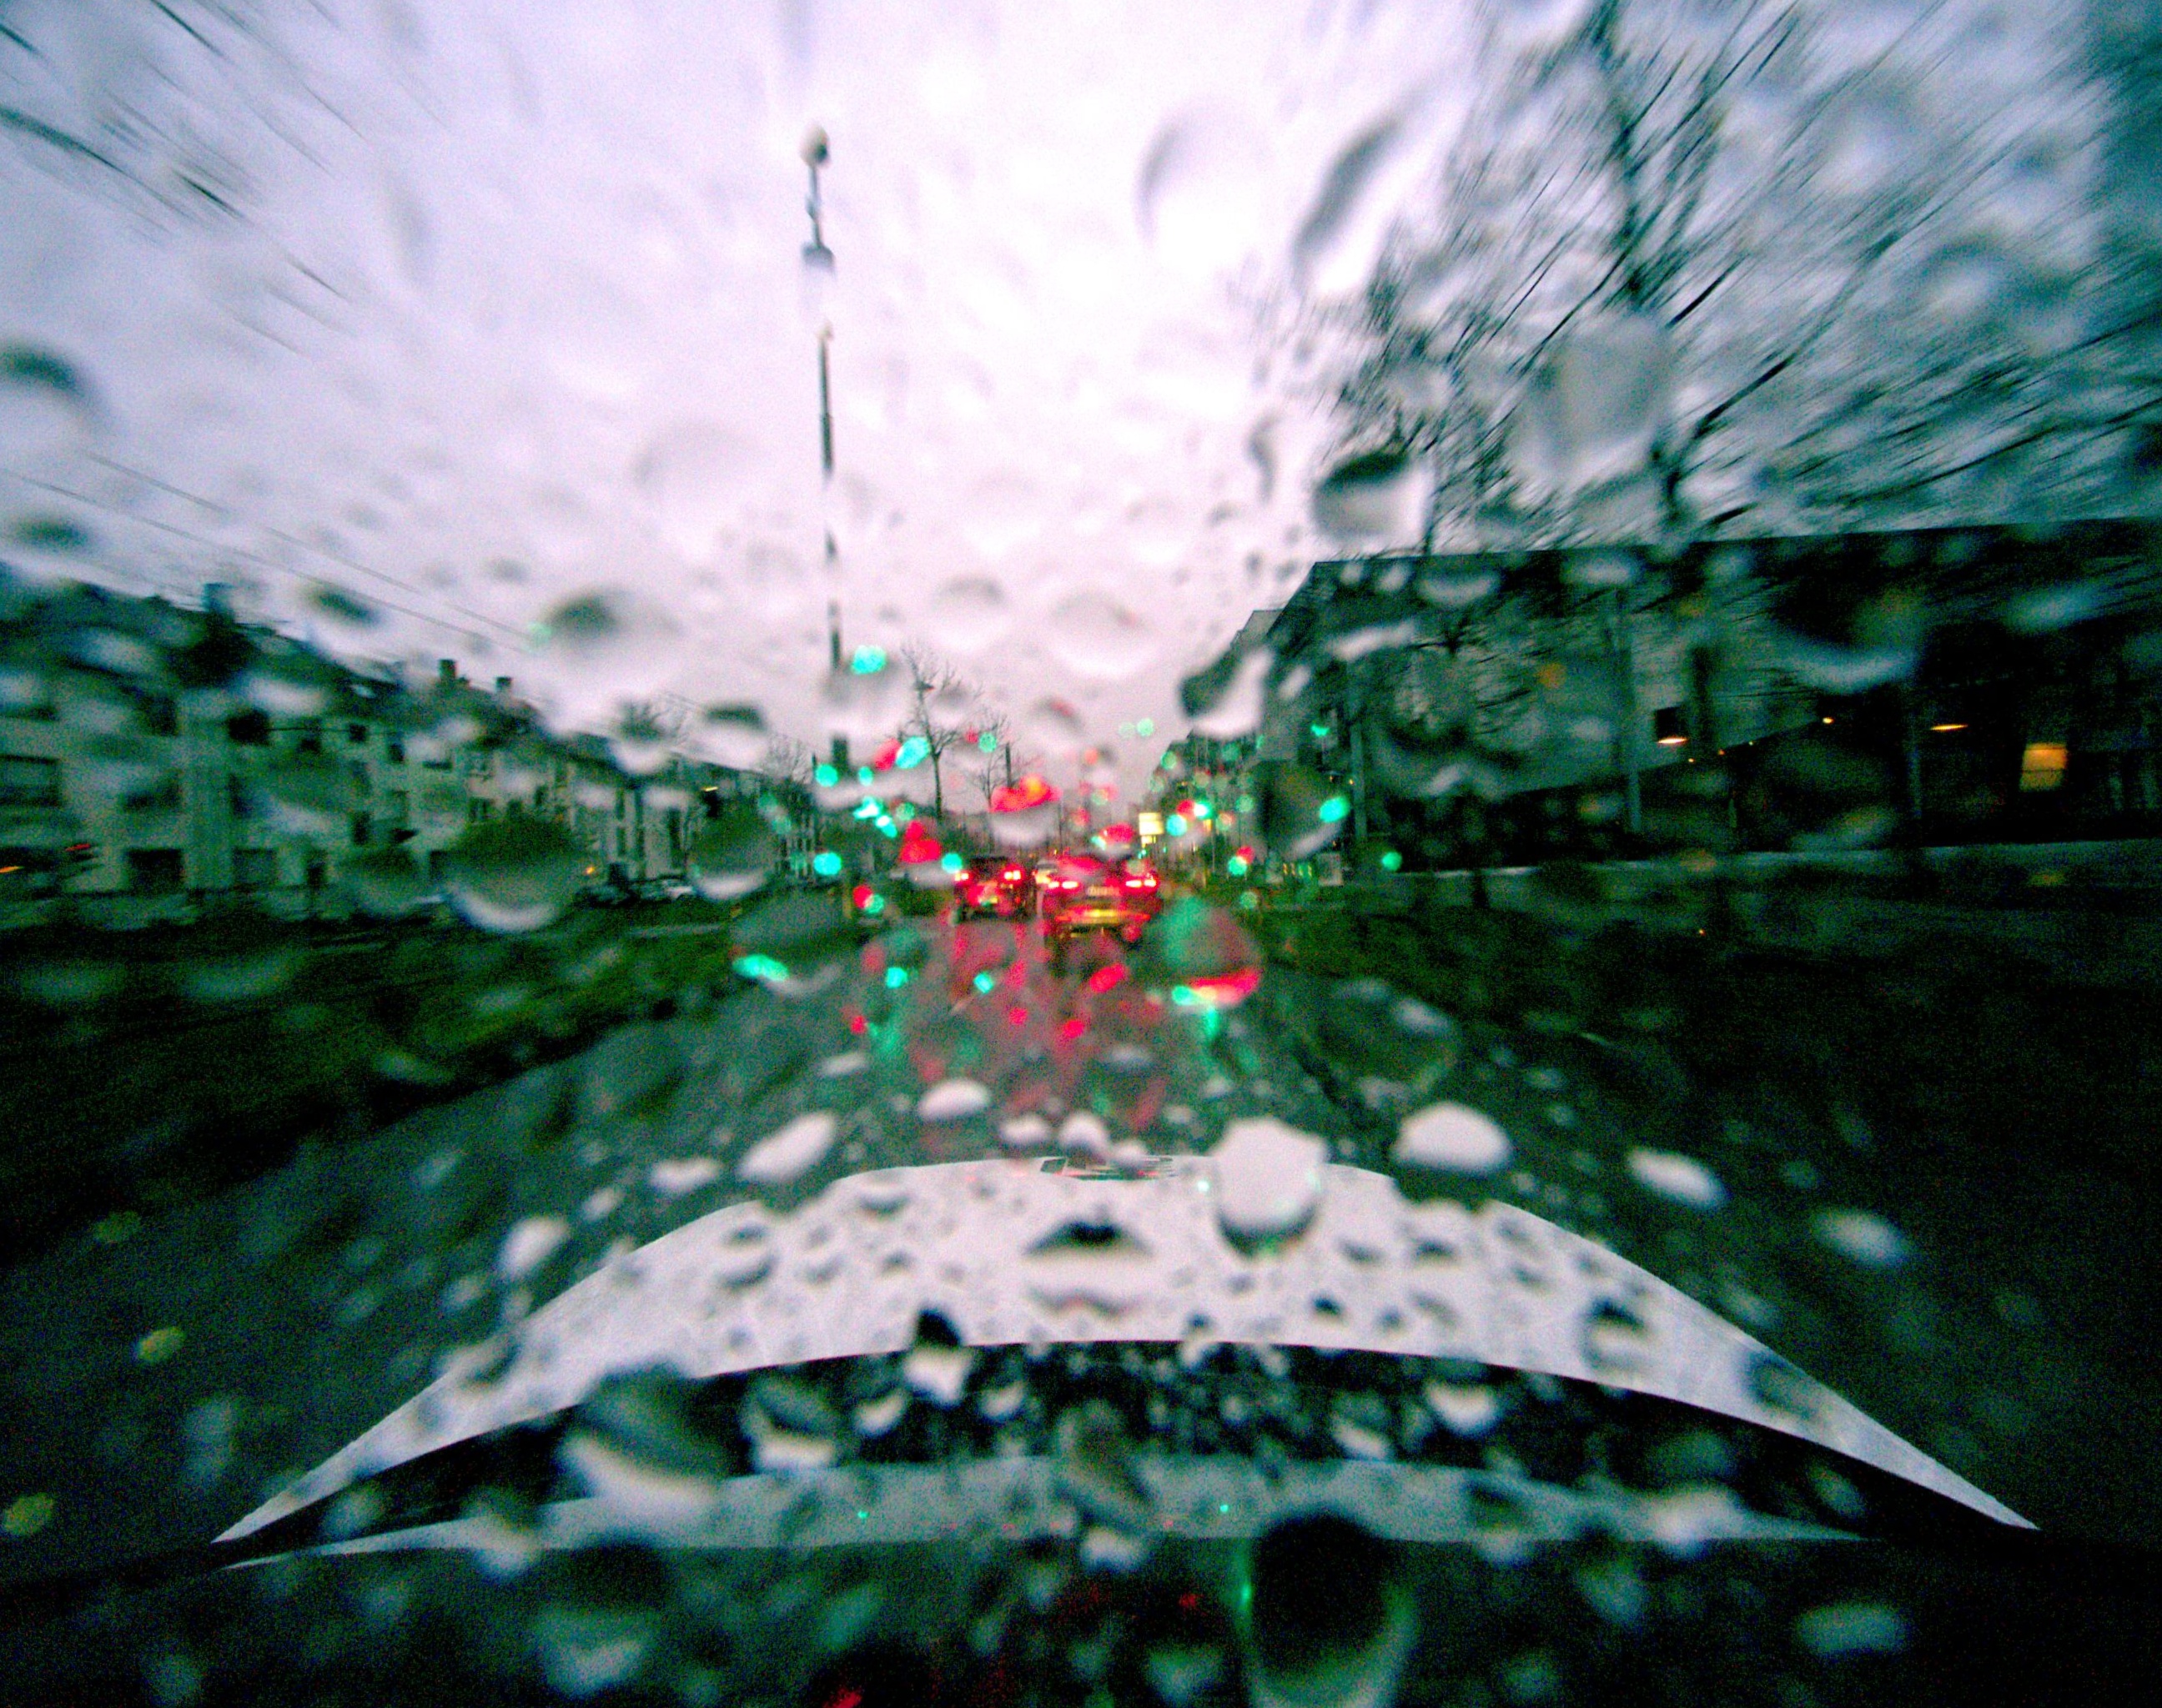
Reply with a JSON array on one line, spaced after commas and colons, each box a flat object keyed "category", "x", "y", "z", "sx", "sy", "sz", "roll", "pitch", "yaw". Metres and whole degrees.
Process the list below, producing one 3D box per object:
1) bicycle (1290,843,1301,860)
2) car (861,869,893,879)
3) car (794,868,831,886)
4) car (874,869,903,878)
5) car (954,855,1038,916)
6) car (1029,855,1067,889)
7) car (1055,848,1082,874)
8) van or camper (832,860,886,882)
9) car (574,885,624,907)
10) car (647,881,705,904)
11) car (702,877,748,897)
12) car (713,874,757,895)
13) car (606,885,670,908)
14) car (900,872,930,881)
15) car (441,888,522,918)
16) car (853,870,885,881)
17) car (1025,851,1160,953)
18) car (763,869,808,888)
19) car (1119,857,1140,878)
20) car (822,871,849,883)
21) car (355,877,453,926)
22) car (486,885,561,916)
[{"category": "bicycle", "x": 16.307, "y": -0.210, "z": 61.925, "sx": 0.406, "sy": 1.284, "sz": 1.755, "roll": -1, "pitch": 0, "yaw": 29}, {"category": "car", "x": -24.915, "y": 2.480, "z": 99.619, "sx": 3.494, "sy": 1.200, "sz": 1.894, "roll": -1, "pitch": 0, "yaw": 33}, {"category": "car", "x": -25.496, "y": 2.180, "z": 77.284, "sx": 3.800, "sy": 1.588, "sz": 1.753, "roll": -1, "pitch": 0, "yaw": 43}, {"category": "car", "x": -24.363, "y": 2.482, "z": 103.012, "sx": 3.374, "sy": 1.147, "sz": 1.702, "roll": -1, "pitch": 0, "yaw": 33}, {"category": "car", "x": -2.167, "y": 0.781, "z": 21.792, "sx": 1.812, "sy": 1.450, "sz": 3.999, "roll": -1, "pitch": 0, "yaw": 0}, {"category": "car", "x": -1.659, "y": 0.898, "z": 41.764, "sx": 1.683, "sy": 1.635, "sz": 3.475, "roll": -1, "pitch": 0, "yaw": 1}, {"category": "car", "x": -0.828, "y": 0.521, "z": 57.910, "sx": 1.655, "sy": 1.759, "sz": 3.570, "roll": -1, "pitch": -1, "yaw": 3}, {"category": "van or camper", "x": -25.132, "y": 1.902, "z": 91.983, "sx": 6.792, "sy": 2.360, "sz": 2.013, "roll": -1, "pitch": 0, "yaw": 35}, {"category": "car", "x": -26.317, "y": 2.289, "z": 44.442, "sx": 2.361, "sy": 1.048, "sz": 1.446, "roll": -1, "pitch": 1, "yaw": 34}, {"category": "car", "x": -25.518, "y": 2.404, "z": 51.281, "sx": 3.794, "sy": 1.245, "sz": 1.749, "roll": -1, "pitch": 0, "yaw": 37}, {"category": "car", "x": -25.492, "y": 2.371, "z": 58.292, "sx": 2.899, "sy": 1.336, "sz": 1.749, "roll": -1, "pitch": 0, "yaw": 34}, {"category": "car", "x": -25.842, "y": 2.256, "z": 60.863, "sx": 3.342, "sy": 1.422, "sz": 1.680, "roll": -1, "pitch": 0, "yaw": 40}, {"category": "car", "x": -26.040, "y": 2.457, "z": 47.870, "sx": 3.772, "sy": 1.172, "sz": 1.749, "roll": -1, "pitch": 0, "yaw": 34}, {"category": "car", "x": -23.741, "y": 3.202, "z": 116.291, "sx": 4.135, "sy": 1.116, "sz": 1.692, "roll": -1, "pitch": 0, "yaw": 32}, {"category": "car", "x": -26.477, "y": 2.121, "z": 35.950, "sx": 3.525, "sy": 1.141, "sz": 1.748, "roll": -1, "pitch": 0, "yaw": 34}, {"category": "car", "x": -25.166, "y": 2.571, "z": 96.693, "sx": 3.494, "sy": 1.212, "sz": 1.759, "roll": -1, "pitch": 0, "yaw": 33}, {"category": "car", "x": 0.221, "y": 0.723, "z": 13.949, "sx": 1.986, "sy": 1.483, "sz": 3.701, "roll": -1, "pitch": -1, "yaw": 1}, {"category": "car", "x": -25.728, "y": 2.120, "z": 70.823, "sx": 4.109, "sy": 1.541, "sz": 1.681, "roll": -1, "pitch": 0, "yaw": 37}, {"category": "car", "x": 4.376, "y": 1.164, "z": 72.536, "sx": 1.631, "sy": 1.728, "sz": 4.007, "roll": -1, "pitch": 0, "yaw": 6}, {"category": "car", "x": -25.404, "y": 2.374, "z": 84.101, "sx": 2.851, "sy": 1.204, "sz": 1.397, "roll": -1, "pitch": 0, "yaw": 43}, {"category": "car", "x": -26.875, "y": 1.818, "z": 32.297, "sx": 4.598, "sy": 1.723, "sz": 1.845, "roll": -1, "pitch": 0, "yaw": 35}, {"category": "car", "x": -26.385, "y": 2.163, "z": 38.528, "sx": 3.534, "sy": 1.309, "sz": 1.697, "roll": -1, "pitch": 0, "yaw": 34}]
